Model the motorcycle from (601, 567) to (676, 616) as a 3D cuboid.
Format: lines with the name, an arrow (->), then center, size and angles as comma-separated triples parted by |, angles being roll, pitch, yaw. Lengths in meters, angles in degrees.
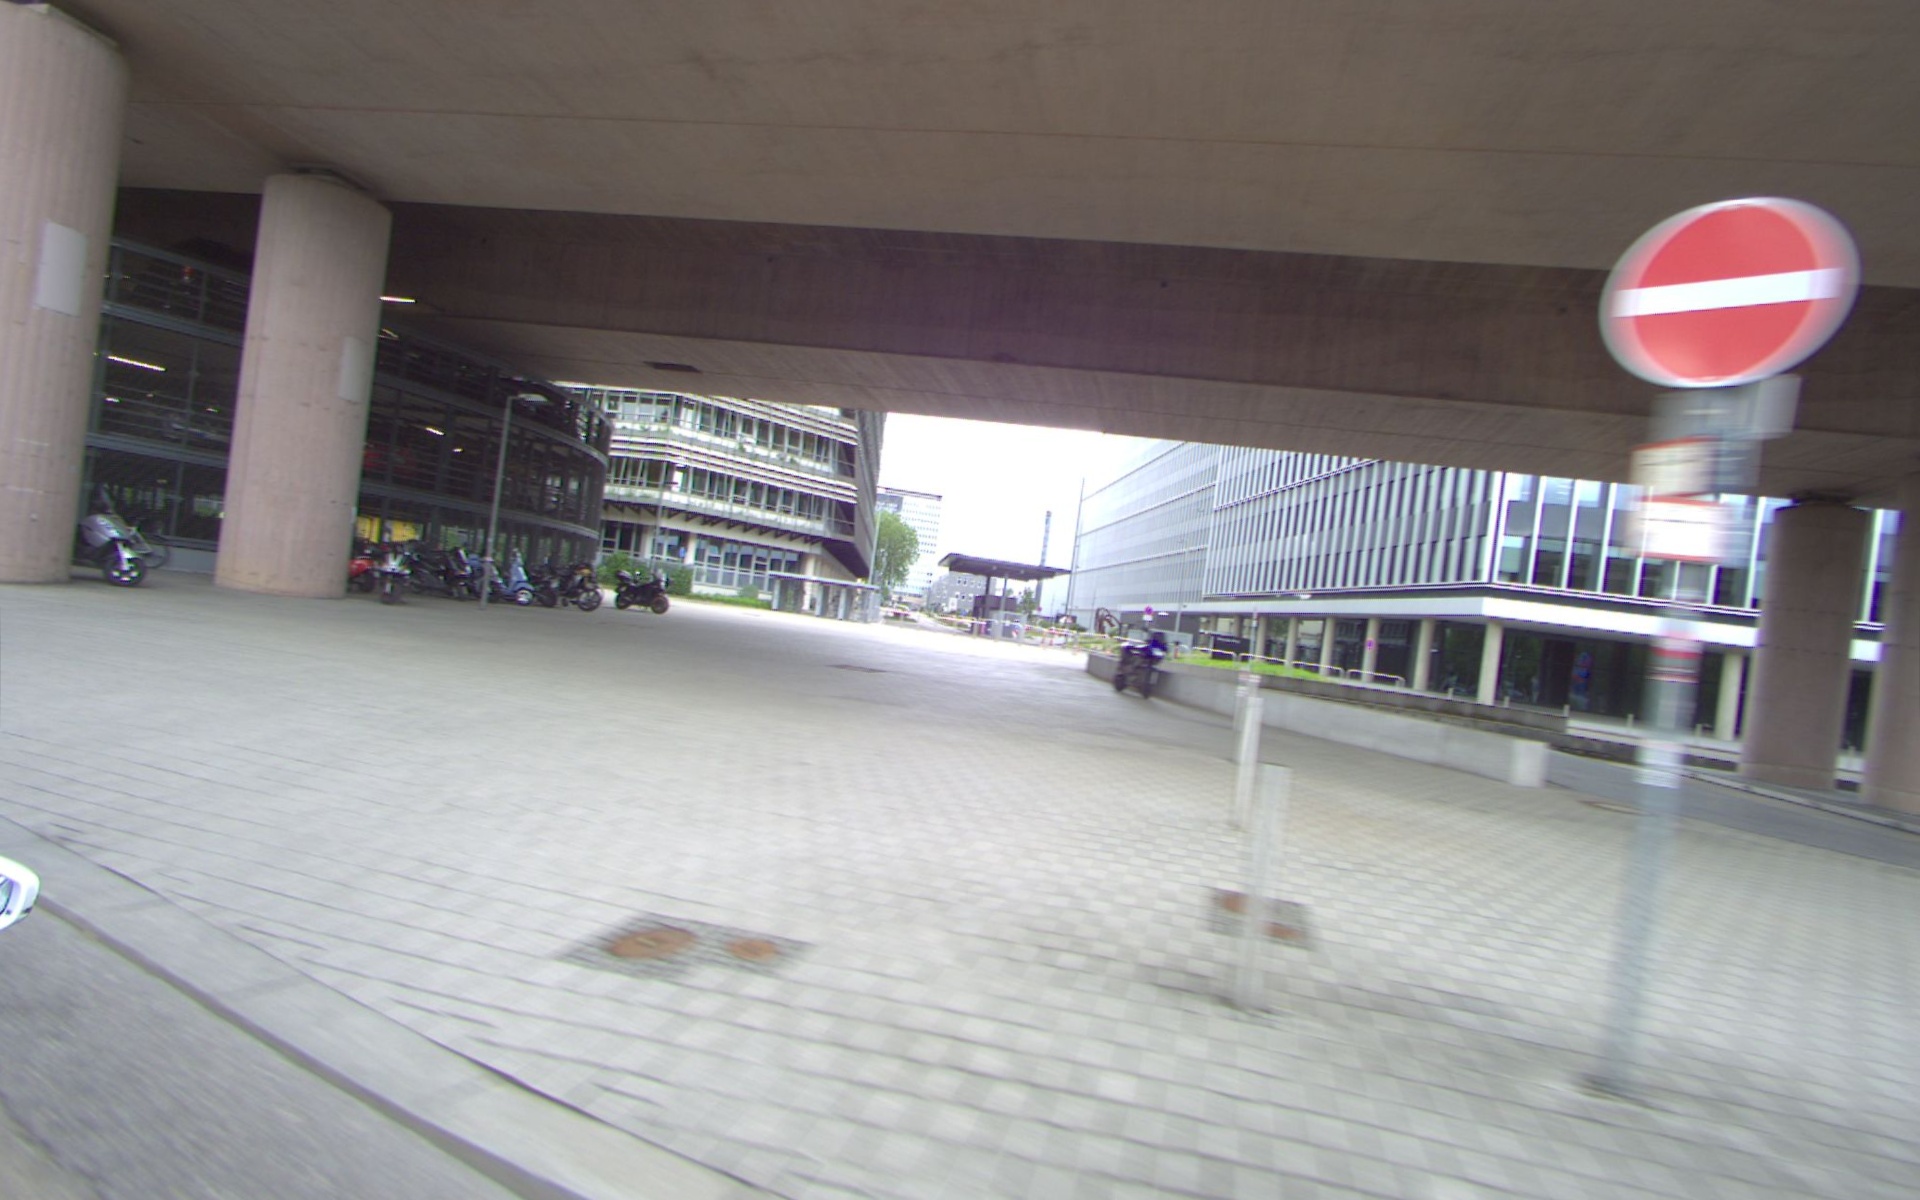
motorcycle -> -10.984, -0.297, 34.408 | 2.319, 1.291, 0.674 | 9, 1, 16

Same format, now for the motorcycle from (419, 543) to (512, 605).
motorcycle -> -12.510, -0.650, 25.454 | 2.039, 1.235, 0.674 | 9, 1, 16

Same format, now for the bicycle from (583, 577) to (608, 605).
bicycle -> -12.967, -0.329, 35.832 | 0.468, 0.906, 1.502 | 9, 0, -10

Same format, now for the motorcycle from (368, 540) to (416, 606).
motorcycle -> -10.906, -0.528, 19.300 | 0.518, 1.184, 1.138 | 8, -2, -38

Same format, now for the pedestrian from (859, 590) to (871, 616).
pedestrian -> -5.915, 0.186, 62.556 | 0.489, 1.499, 0.542 | 8, 1, -16

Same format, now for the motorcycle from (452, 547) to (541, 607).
motorcycle -> -12.195, -0.598, 26.481 | 2.039, 1.235, 0.674 | 9, 1, 16

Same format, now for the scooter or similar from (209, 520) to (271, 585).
scooter or similar -> -14.885, -0.982, 20.805 | 1.229, 1.148, 0.400 | 9, 1, 26

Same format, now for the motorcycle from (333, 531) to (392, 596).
motorcycle -> -12.973, -0.790, 21.833 | 1.131, 1.235, 0.521 | 9, 1, 33

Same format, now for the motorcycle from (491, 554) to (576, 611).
motorcycle -> -11.694, -0.473, 27.572 | 2.039, 1.235, 0.674 | 9, 1, 16

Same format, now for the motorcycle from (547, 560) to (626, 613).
motorcycle -> -11.002, -0.392, 29.604 | 2.039, 1.235, 0.674 | 9, 1, 16

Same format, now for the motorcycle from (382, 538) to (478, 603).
motorcycle -> -12.933, -0.719, 24.556 | 2.039, 1.235, 0.674 | 9, 1, 16

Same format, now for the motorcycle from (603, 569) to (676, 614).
motorcycle -> -11.370, -0.296, 35.674 | 2.319, 1.235, 0.674 | 9, 1, 16

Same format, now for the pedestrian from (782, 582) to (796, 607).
pedestrian -> -10.832, -0.321, 63.734 | 0.488, 1.499, 0.544 | 9, 1, 32

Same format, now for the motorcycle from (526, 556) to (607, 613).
motorcycle -> -11.264, -0.439, 28.799 | 2.039, 1.302, 0.674 | 9, 1, 16

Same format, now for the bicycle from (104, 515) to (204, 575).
bicycle -> -16.522, -1.119, 20.652 | 0.445, 0.988, 1.471 | 10, 1, 40

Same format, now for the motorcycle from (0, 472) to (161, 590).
motorcycle -> -13.257, -1.019, 15.167 | 1.731, 1.473, 0.643 | 9, 1, -1

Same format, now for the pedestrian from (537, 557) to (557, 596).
pedestrian -> -22.364, -1.268, 54.523 | 0.563, 2.037, 0.528 | 8, 0, 25

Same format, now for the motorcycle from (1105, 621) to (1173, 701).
motorcycle -> 3.328, 1.104, 18.886 | 0.539, 1.280, 1.938 | 9, 0, -6
